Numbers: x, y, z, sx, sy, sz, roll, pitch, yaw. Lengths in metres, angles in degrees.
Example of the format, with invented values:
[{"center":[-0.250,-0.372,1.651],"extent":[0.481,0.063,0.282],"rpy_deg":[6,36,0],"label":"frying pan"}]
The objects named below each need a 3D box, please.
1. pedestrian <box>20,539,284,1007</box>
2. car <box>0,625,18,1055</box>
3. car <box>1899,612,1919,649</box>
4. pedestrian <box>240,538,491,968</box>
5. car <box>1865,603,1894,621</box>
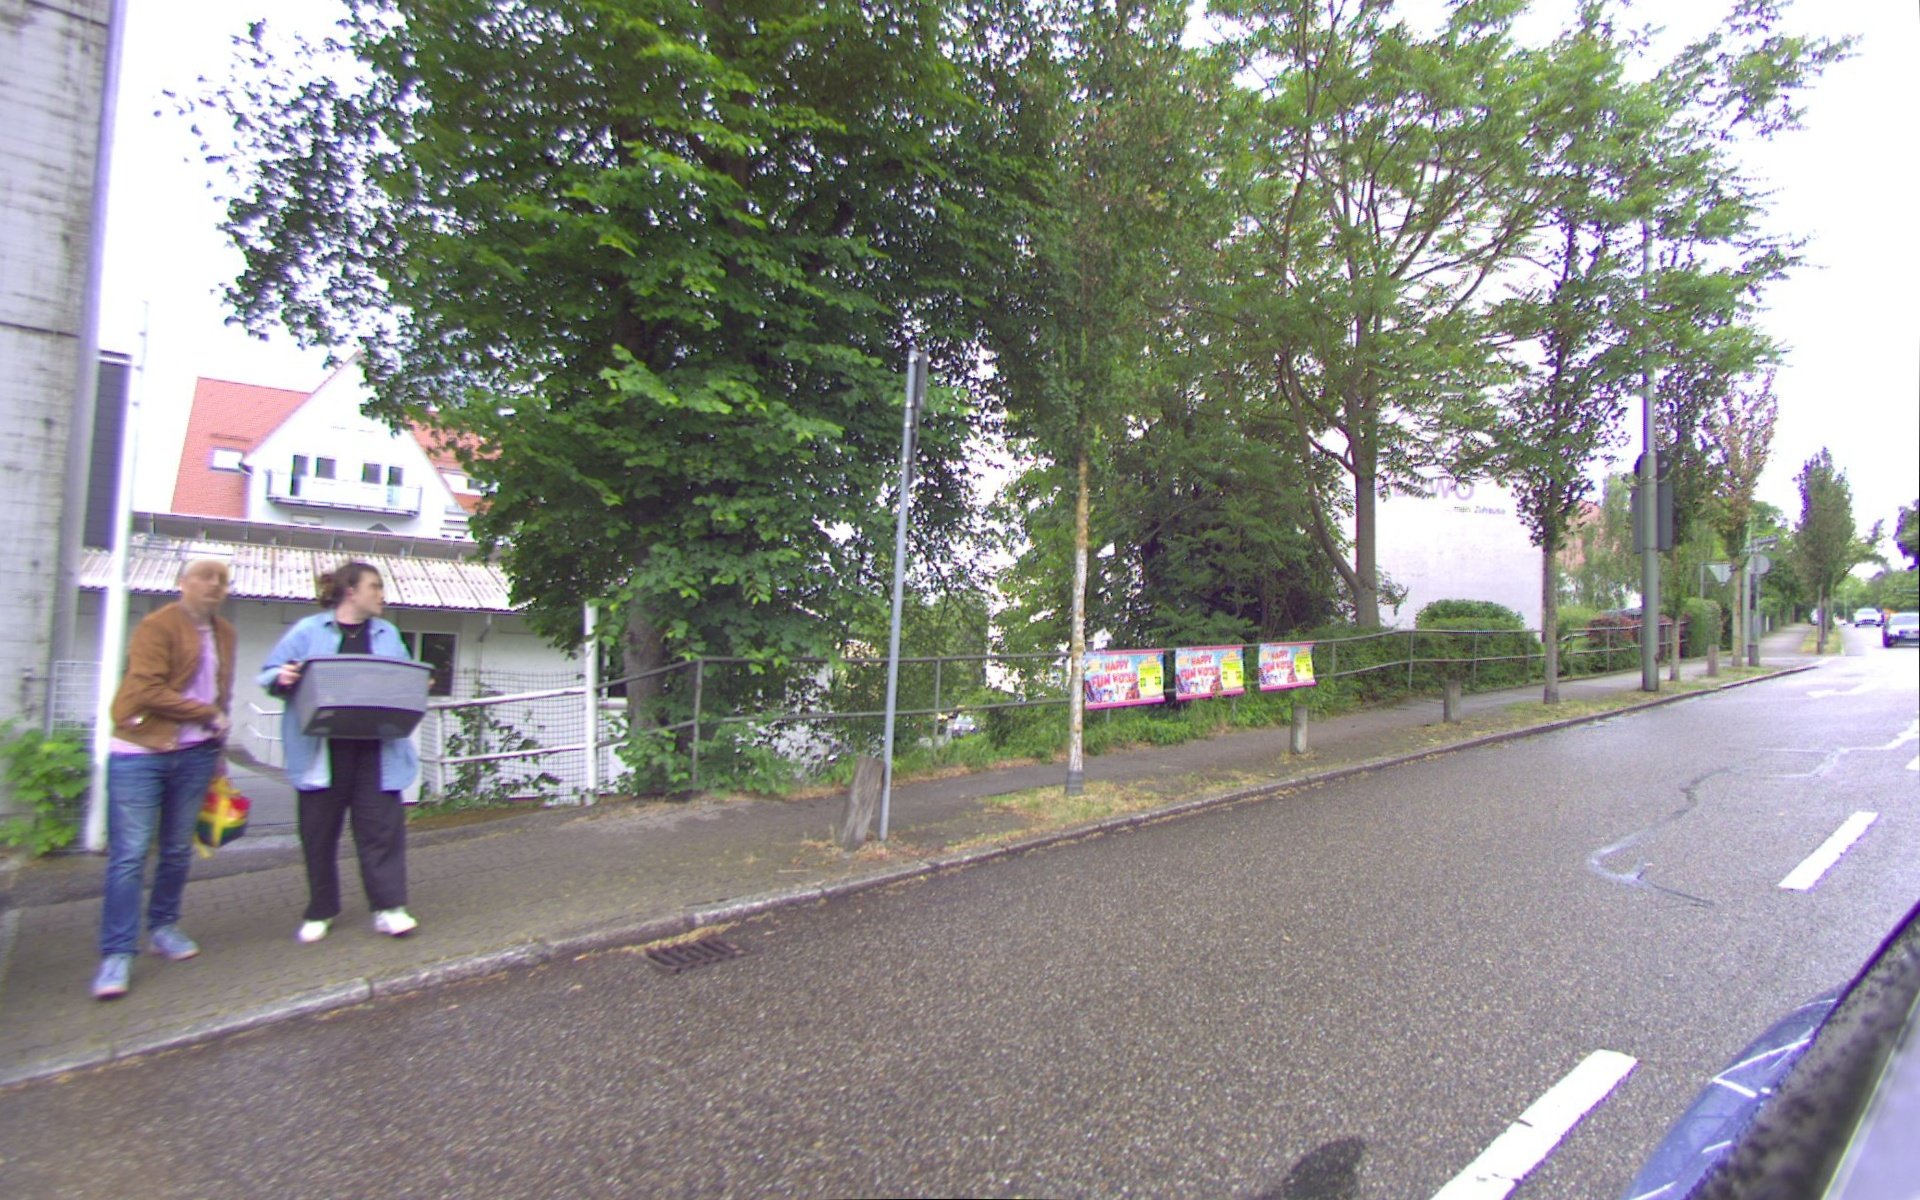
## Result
[{"center":[-3.669,0.673,4.581],"extent":[1.070,1.805,0.811],"rpy_deg":[-2,-2,44],"label":"pedestrian"},{"center":[-5.580,0.849,2.762],"extent":[4.368,1.453,1.996],"rpy_deg":[0,0,-43],"label":"car"},{"center":[47.184,1.458,49.259],"extent":[4.219,1.638,1.832],"rpy_deg":[-1,0,-42],"label":"car"},{"center":[-2.914,0.653,4.936],"extent":[0.811,1.805,1.070],"rpy_deg":[0,-2,-45],"label":"pedestrian"},{"center":[85.219,1.100,93.782],"extent":[1.830,1.638,4.281],"rpy_deg":[0,0,45],"label":"car"}]
